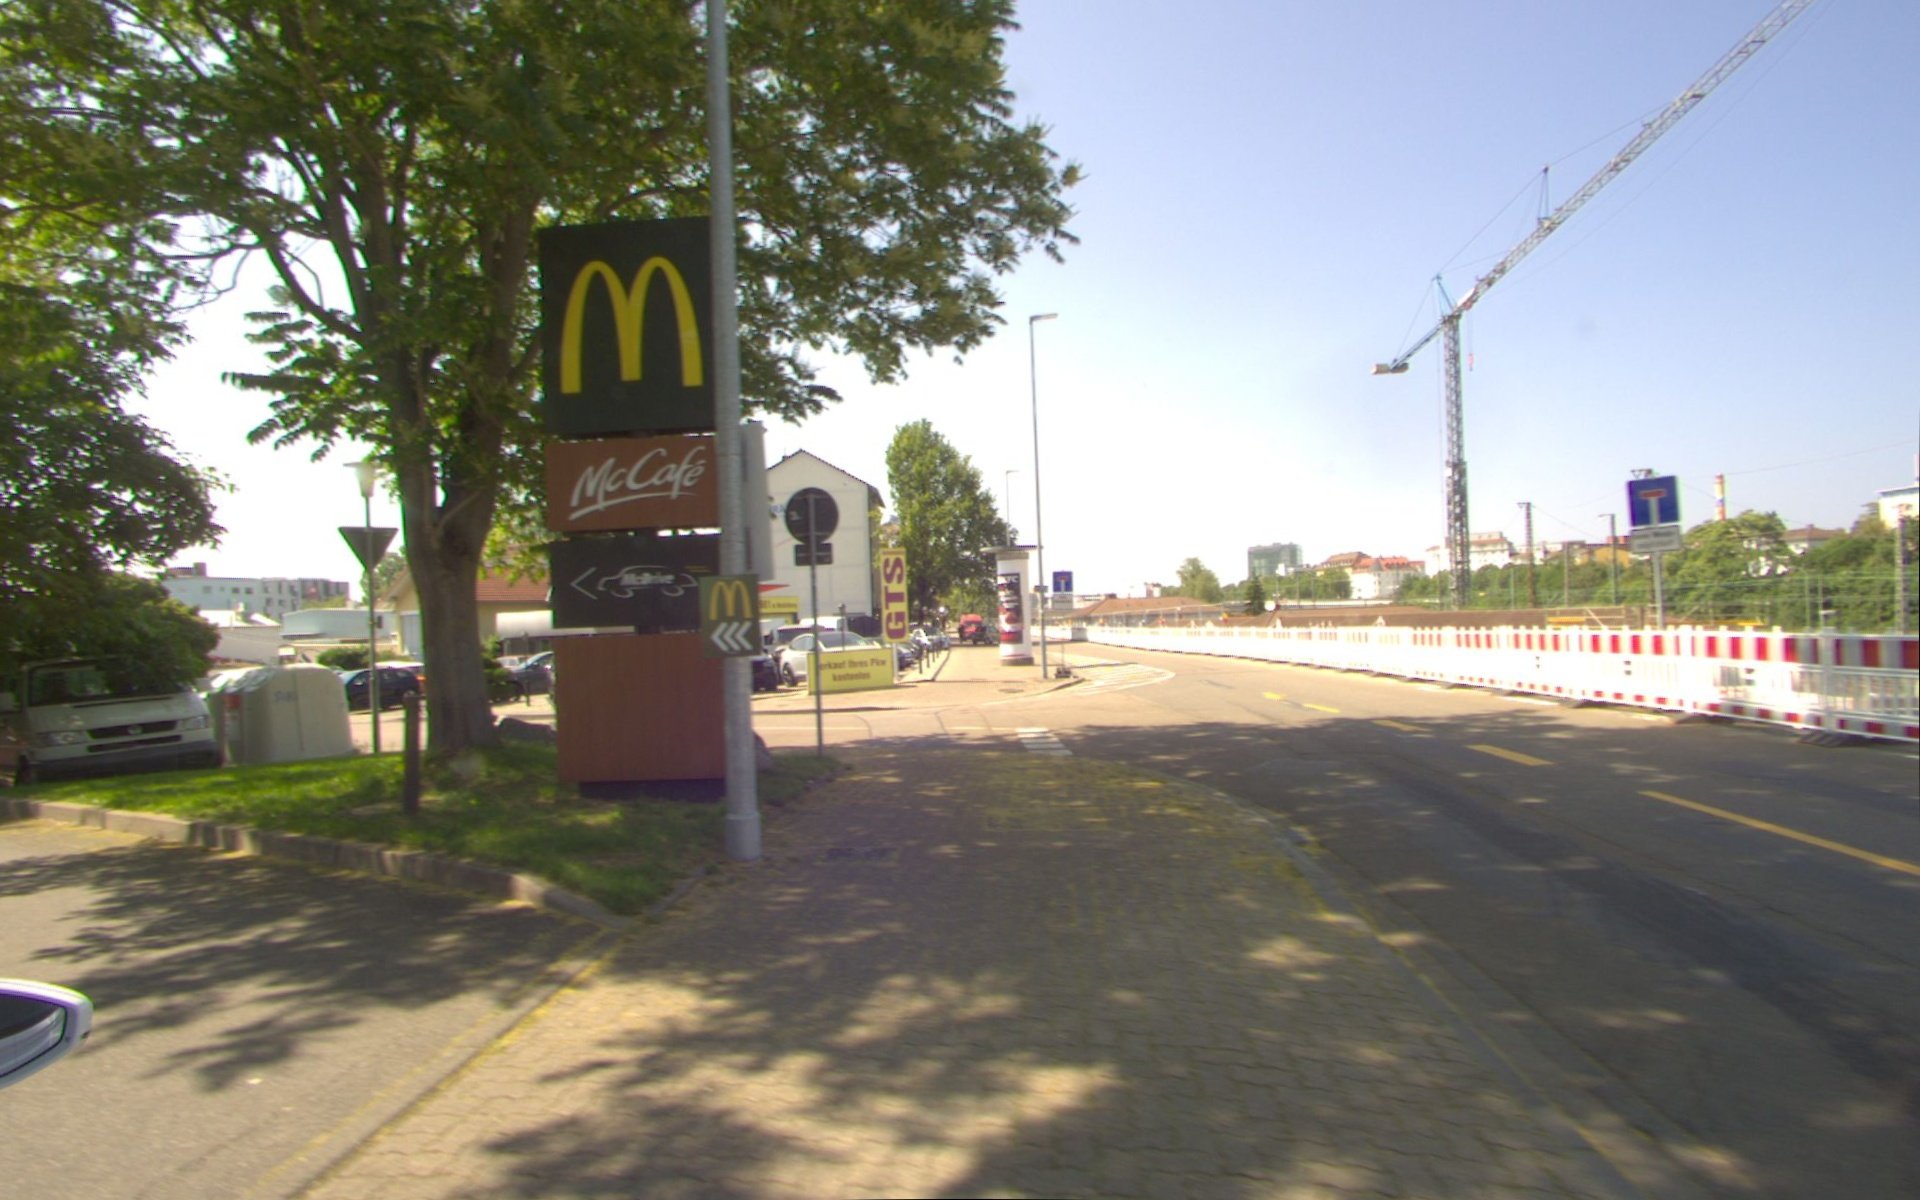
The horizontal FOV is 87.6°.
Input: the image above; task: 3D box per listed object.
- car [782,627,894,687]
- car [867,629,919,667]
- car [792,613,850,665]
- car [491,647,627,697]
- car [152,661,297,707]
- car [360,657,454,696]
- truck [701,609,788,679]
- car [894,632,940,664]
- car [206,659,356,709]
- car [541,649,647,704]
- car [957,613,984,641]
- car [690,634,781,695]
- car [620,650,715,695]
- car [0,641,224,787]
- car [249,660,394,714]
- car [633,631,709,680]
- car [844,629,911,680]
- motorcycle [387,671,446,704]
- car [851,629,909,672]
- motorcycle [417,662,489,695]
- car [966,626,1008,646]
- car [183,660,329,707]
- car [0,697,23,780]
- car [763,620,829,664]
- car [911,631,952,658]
[{"bbox_3d":[-3.894,1.774,31.422,1.973,1.747,3.979,0,-3,-32],"label":"car"},{"bbox_3d":[-3.246,2.261,47.523,1.828,1.650,3.998,-1,-2,-13],"label":"car"},{"bbox_3d":[-6.725,1.880,48.852,2.101,2.313,4.713,-2,-2,0],"label":"car"},{"bbox_3d":[-14.639,2.598,36.656,4.281,1.605,1.987,0,-3,-36],"label":"car"},{"bbox_3d":[-31.218,3.527,42.660,1.967,1.747,4.643,-3,-3,23],"label":"car"},{"bbox_3d":[-24.385,3.360,44.141,3.945,1.605,1.990,-3,-3,33],"label":"car"},{"bbox_3d":[-9.650,1.975,45.488,2.232,2.940,5.945,-1,-2,4],"label":"truck"},{"bbox_3d":[-2.438,2.663,55.963,1.828,1.650,3.998,-1,-2,-13],"label":"car"},{"bbox_3d":[-26.986,3.304,39.962,1.967,1.747,4.643,-3,-3,23],"label":"car"},{"bbox_3d":[-11.160,2.297,30.834,1.759,1.529,4.003,-1,-2,1],"label":"car"},{"bbox_3d":[1.071,2.693,99.051,2.496,2.551,5.121,-1,-2,2],"label":"car"},{"bbox_3d":[-6.786,1.888,29.890,2.019,1.614,4.414,-1,-3,-21],"label":"car"},{"bbox_3d":[-10.627,2.611,36.701,1.760,1.506,4.000,-2,-2,10],"label":"car"},{"bbox_3d":[-11.767,1.386,13.588,4.976,1.603,1.942,-2,-2,42],"label":"car"},{"bbox_3d":[-23.011,3.091,36.212,1.971,1.727,3.982,-3,-3,30],"label":"car"},{"bbox_3d":[-12.920,2.466,45.005,1.961,2.039,4.498,-1,-2,2],"label":"car"},{"bbox_3d":[-3.020,1.932,36.144,1.828,1.650,3.998,-1,-2,-13],"label":"car"},{"bbox_3d":[-20.842,3.346,38.418,0.781,1.173,1.859,-3,-3,42],"label":"motorcycle"},{"bbox_3d":[-3.411,2.074,41.924,1.828,1.650,3.998,-1,-2,-13],"label":"car"},{"bbox_3d":[-21.198,3.259,41.940,0.983,1.242,2.712,-2,-2,23],"label":"motorcycle"},{"bbox_3d":[2.313,3.051,85.036,3.244,1.658,1.713,0,-3,-40],"label":"car"},{"bbox_3d":[-29.091,3.427,41.575,1.967,1.747,4.643,-3,-3,23],"label":"car"},{"bbox_3d":[-18.378,2.508,16.963,1.465,1.397,3.396,-1,0,32],"label":"car"},{"bbox_3d":[-6.927,1.790,42.810,1.847,1.760,4.724,-1,-2,3],"label":"car"},{"bbox_3d":[-1.875,2.831,64.196,1.828,1.650,3.998,-1,-2,-13],"label":"car"}]
